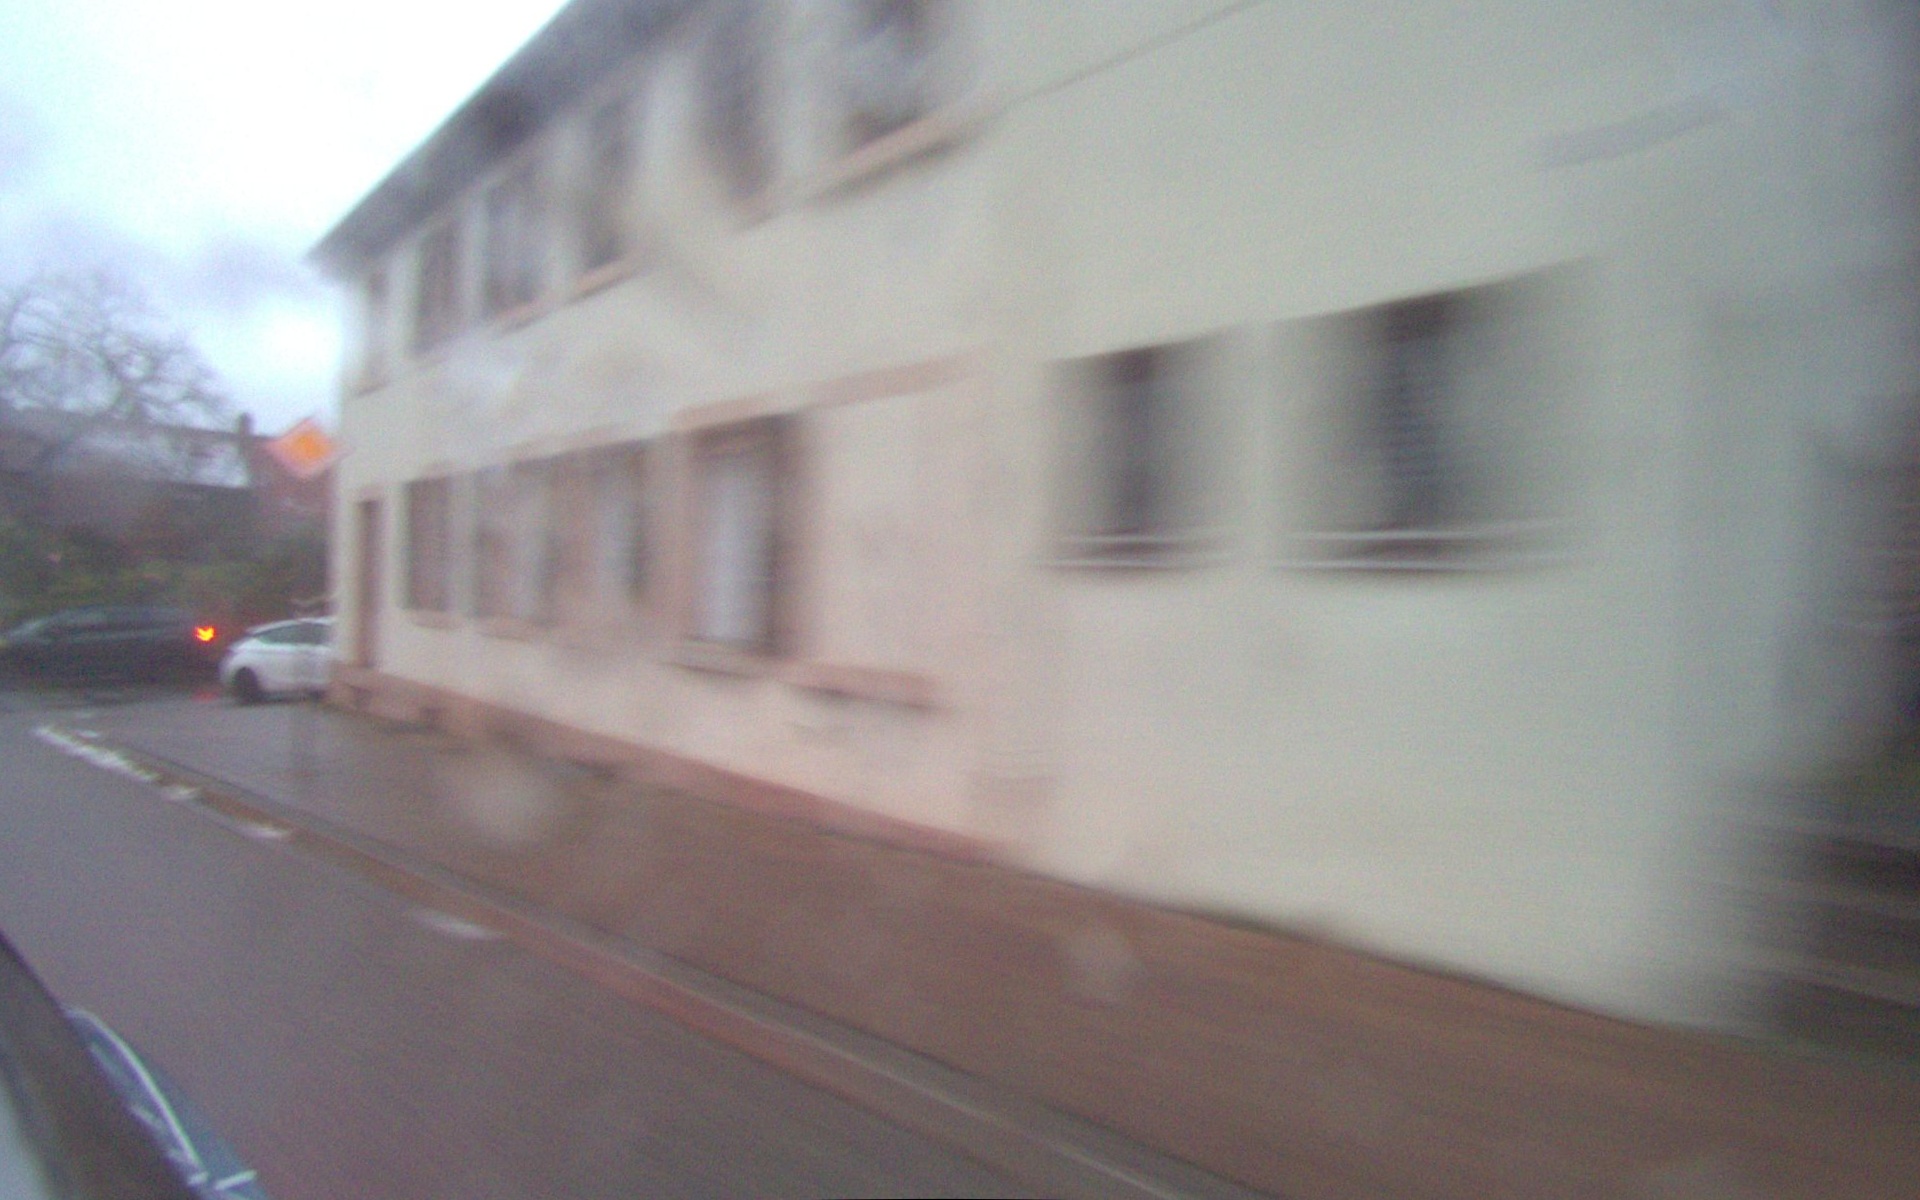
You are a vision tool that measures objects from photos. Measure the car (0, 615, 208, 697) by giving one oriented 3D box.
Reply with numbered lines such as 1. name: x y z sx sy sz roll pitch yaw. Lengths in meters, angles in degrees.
1. car: -19.012 1.128 21.561 1.995 1.591 4.430 0 0 34

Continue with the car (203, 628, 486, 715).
1. car: -11.151 1.244 18.469 4.191 1.436 1.993 0 0 11
